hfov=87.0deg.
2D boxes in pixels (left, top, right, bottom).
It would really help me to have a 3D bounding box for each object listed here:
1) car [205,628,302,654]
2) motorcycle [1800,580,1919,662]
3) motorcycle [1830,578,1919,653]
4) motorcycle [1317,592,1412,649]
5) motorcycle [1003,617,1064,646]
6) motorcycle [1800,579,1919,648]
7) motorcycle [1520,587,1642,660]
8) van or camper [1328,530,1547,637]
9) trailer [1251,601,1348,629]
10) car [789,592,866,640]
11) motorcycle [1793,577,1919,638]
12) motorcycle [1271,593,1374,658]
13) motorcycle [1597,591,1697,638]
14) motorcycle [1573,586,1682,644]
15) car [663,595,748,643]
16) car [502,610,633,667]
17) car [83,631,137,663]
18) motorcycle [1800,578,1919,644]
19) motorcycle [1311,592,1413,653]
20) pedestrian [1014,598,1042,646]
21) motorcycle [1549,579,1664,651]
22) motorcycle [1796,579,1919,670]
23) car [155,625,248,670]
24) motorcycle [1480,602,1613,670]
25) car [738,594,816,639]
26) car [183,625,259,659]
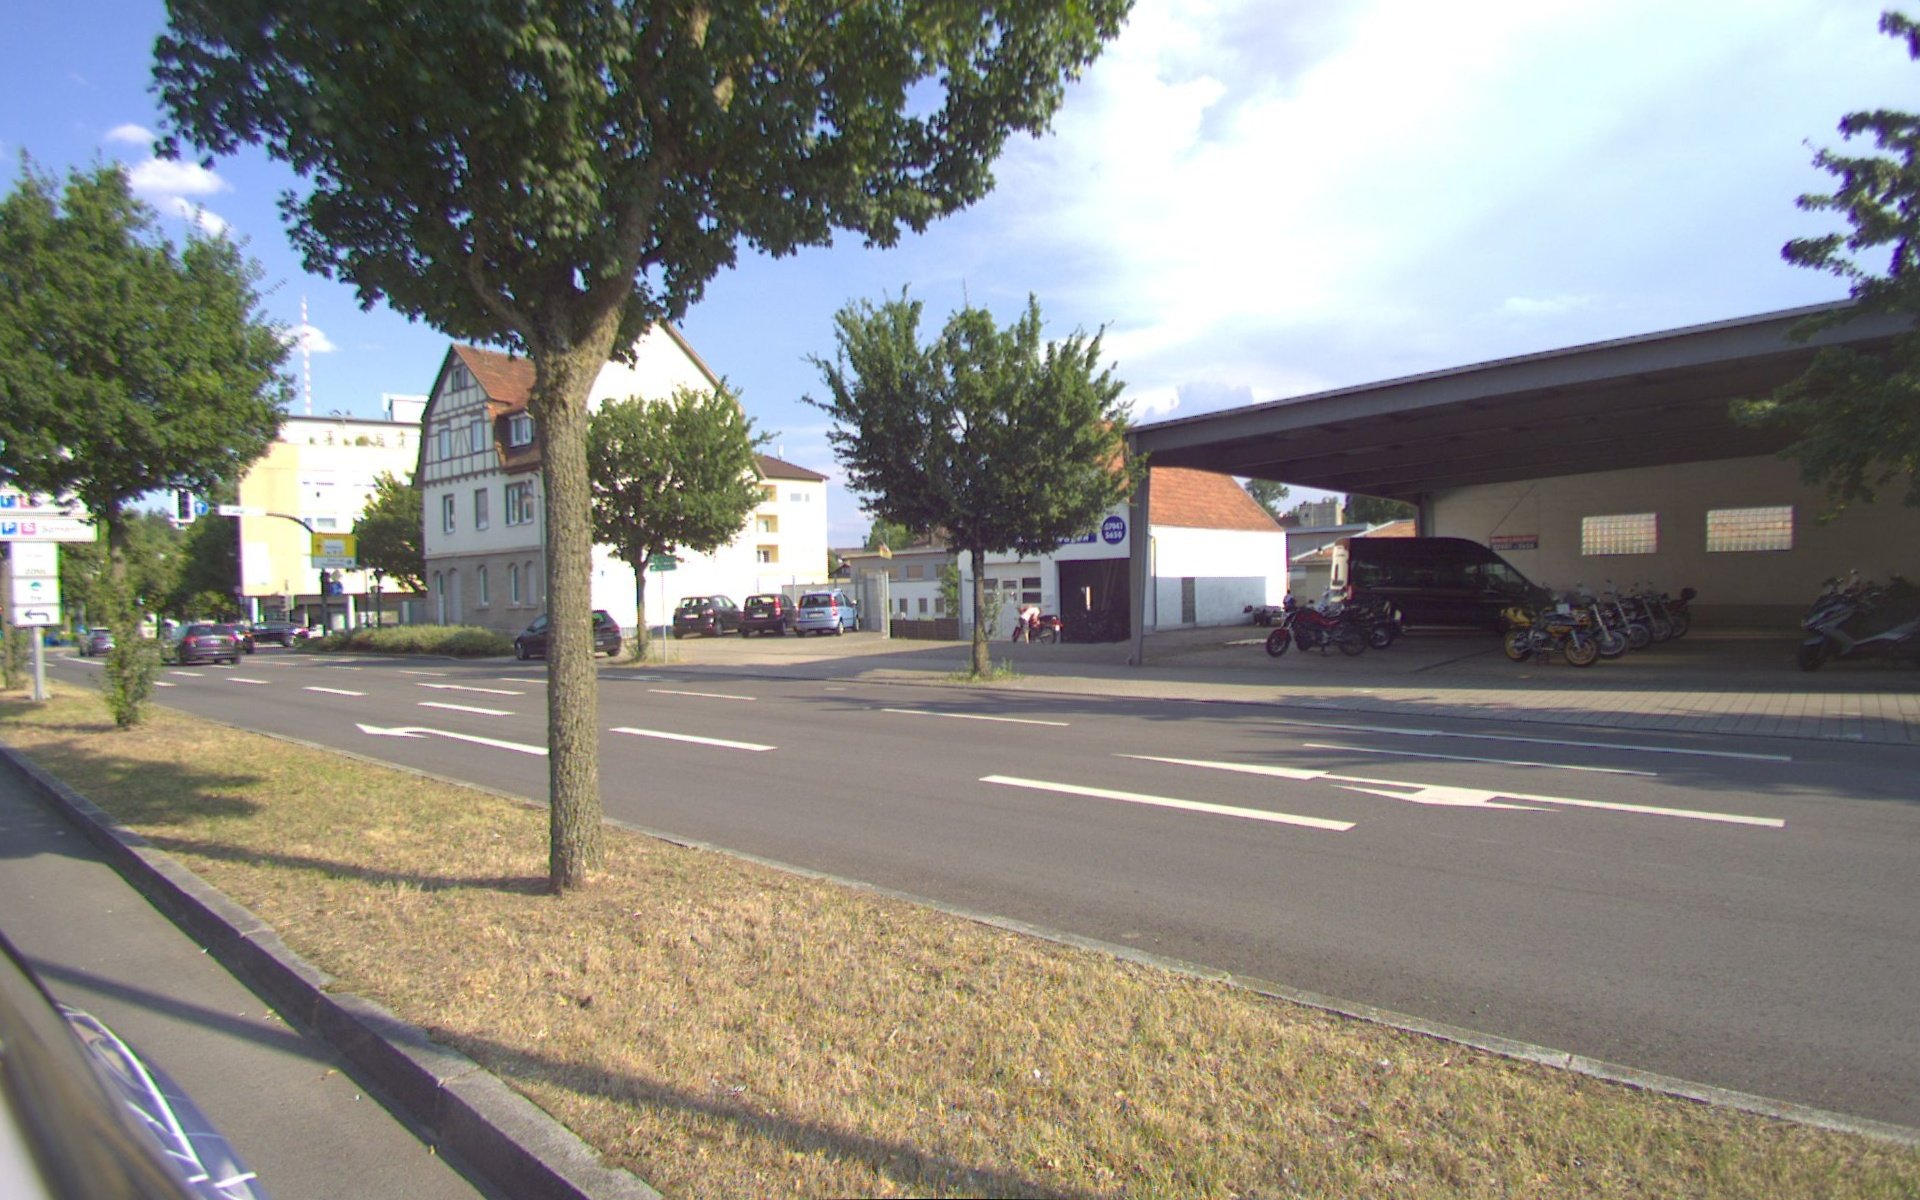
[{"bbox_3d":[-41.984,2.414,60.190,4.594,1.364,1.770,-1,0,-41],"label":"car"},{"bbox_3d":[15.269,0.342,16.733,2.068,1.317,0.561,-1,0,12],"label":"motorcycle"},{"bbox_3d":[17.100,0.274,18.253,2.068,1.317,0.621,-1,0,12],"label":"motorcycle"},{"bbox_3d":[9.791,0.488,24.546,1.982,1.321,0.649,-1,0,5],"label":"motorcycle"},{"bbox_3d":[2.417,1.032,33.363,2.212,0.927,0.500,-1,0,45],"label":"motorcycle"},{"bbox_3d":[17.970,0.268,19.990,2.068,1.317,0.581,-1,0,12],"label":"motorcycle"},{"bbox_3d":[12.116,0.438,19.838,0.553,1.340,2.161,-1,0,-19],"label":"motorcycle"},{"bbox_3d":[12.898,-0.417,27.651,4.980,2.700,1.995,-1,0,9],"label":"van or camper"},{"bbox_3d":[12.514,0.529,37.249,2.449,0.831,3.152,-1,2,38],"label":"trailer"},{"bbox_3d":[-4.604,0.535,35.728,1.746,1.564,3.992,-1,0,7],"label":"car"},{"bbox_3d":[19.913,0.176,22.523,2.068,1.317,0.561,-1,0,12],"label":"motorcycle"},{"bbox_3d":[7.556,0.542,21.182,1.991,1.321,0.665,-1,0,18],"label":"motorcycle"},{"bbox_3d":[17.206,0.355,25.432,0.553,1.131,2.161,-1,0,-19],"label":"motorcycle"},{"bbox_3d":[15.439,0.342,23.476,0.636,1.268,2.161,-1,0,-19],"label":"motorcycle"},{"bbox_3d":[-9.413,0.660,37.781,1.746,1.563,3.992,-2,1,7],"label":"car"},{"bbox_3d":[-11.739,1.110,30.151,4.193,1.454,1.816,-1,3,41],"label":"car"},{"bbox_3d":[-40.871,2.232,48.634,1.759,1.359,4.483,-1,0,-43],"label":"car"},{"bbox_3d":[18.960,0.232,21.168,2.068,1.317,0.561,-1,0,12],"label":"motorcycle"},{"bbox_3d":[9.024,0.496,22.766,1.982,1.321,0.649,-1,0,5],"label":"motorcycle"},{"bbox_3d":[2.202,0.709,32.716,0.642,1.535,0.676,-1,0,-21],"label":"pedestrian"},{"bbox_3d":[13.797,0.306,21.690,0.584,1.459,2.161,-1,0,-19],"label":"motorcycle"},{"bbox_3d":[13.888,0.362,15.125,2.093,1.317,0.561,-1,0,12],"label":"motorcycle"},{"bbox_3d":[-26.076,1.582,34.759,4.186,1.397,1.628,-1,0,40],"label":"car"},{"bbox_3d":[10.444,0.606,18.125,0.620,1.132,2.161,-1,0,-19],"label":"motorcycle"},{"bbox_3d":[-6.680,0.589,37.411,1.746,1.564,3.992,-1,0,7],"label":"car"},{"bbox_3d":[-33.717,1.861,46.123,4.642,1.432,1.824,-1,0,41],"label":"car"}]
